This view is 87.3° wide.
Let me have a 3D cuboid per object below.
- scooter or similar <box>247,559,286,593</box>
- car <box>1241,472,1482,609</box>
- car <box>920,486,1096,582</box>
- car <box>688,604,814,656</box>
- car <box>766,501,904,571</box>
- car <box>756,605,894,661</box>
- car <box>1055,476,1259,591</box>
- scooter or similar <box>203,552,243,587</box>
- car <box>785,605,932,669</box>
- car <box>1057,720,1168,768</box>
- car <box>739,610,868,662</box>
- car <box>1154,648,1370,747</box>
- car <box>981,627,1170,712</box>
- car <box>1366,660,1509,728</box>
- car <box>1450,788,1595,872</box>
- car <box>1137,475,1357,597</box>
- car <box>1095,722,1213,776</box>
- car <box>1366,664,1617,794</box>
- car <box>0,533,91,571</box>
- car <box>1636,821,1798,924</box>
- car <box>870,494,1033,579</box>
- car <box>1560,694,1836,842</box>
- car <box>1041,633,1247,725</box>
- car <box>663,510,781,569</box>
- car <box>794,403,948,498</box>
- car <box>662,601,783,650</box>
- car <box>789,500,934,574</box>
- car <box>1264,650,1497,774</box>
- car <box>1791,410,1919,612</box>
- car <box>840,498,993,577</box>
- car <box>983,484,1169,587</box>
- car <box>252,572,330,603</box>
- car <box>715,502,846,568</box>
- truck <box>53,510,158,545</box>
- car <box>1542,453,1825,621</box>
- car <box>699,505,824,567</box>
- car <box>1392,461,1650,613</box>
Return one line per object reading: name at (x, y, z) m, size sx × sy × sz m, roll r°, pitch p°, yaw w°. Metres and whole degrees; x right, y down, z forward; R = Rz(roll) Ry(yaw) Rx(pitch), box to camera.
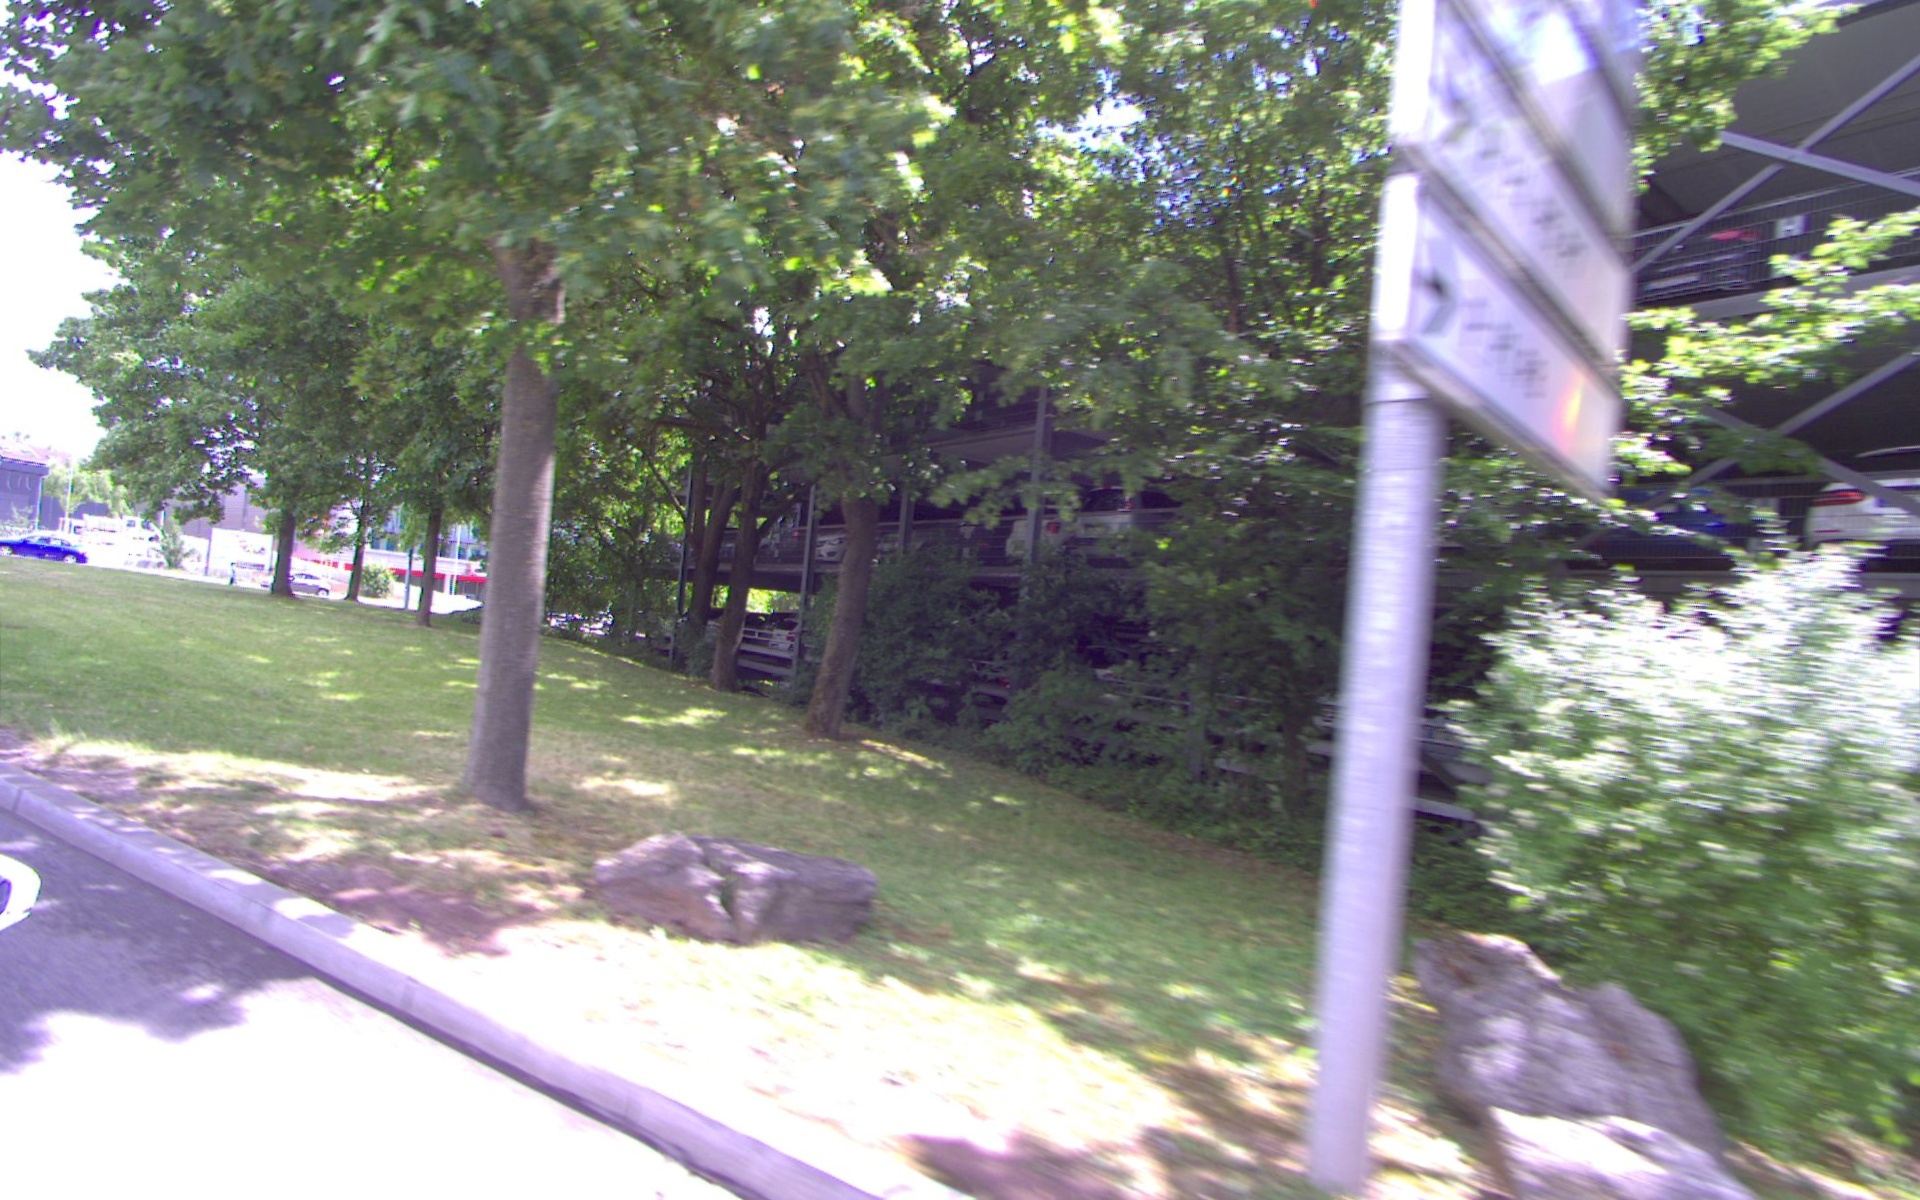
scooter or similar at (-29.462, -1.000, 42.751) m, size 0.524 × 1.278 × 1.192 m, roll 5°, pitch -3°, yaw 11°
car at (6.402, -0.897, 15.927) m, size 3.670 × 1.561 × 1.710 m, roll 7°, pitch 1°, yaw -36°
car at (1.151, -1.511, 23.341) m, size 3.670 × 1.640 × 1.710 m, roll 7°, pitch 1°, yaw -36°
car at (-7.140, 1.037, 34.435) m, size 3.765 × 1.308 × 1.760 m, roll 7°, pitch -1°, yaw -37°
car at (-3.787, -1.925, 30.619) m, size 3.670 × 1.561 × 1.710 m, roll 7°, pitch 1°, yaw -36°
car at (-4.147, 1.030, 31.156) m, size 3.765 × 1.308 × 1.760 m, roll 7°, pitch -1°, yaw -37°
car at (3.889, -1.263, 19.687) m, size 3.670 × 1.640 × 1.710 m, roll 7°, pitch 1°, yaw -36°
scooter or similar at (-30.307, -1.238, 41.376) m, size 0.524 × 1.278 × 1.192 m, roll 5°, pitch -3°, yaw 11°
car at (-2.900, 1.082, 28.998) m, size 3.765 × 1.409 × 1.760 m, roll 7°, pitch -1°, yaw -37°
car at (5.400, 5.042, 35.462) m, size 3.748 × 1.388 × 1.624 m, roll 6°, pitch 0°, yaw -37°
car at (-5.155, 1.207, 33.363) m, size 3.765 × 1.308 × 1.760 m, roll 7°, pitch -1°, yaw -37°
car at (5.488, 1.780, 18.101) m, size 3.824 × 1.409 × 1.679 m, roll 7°, pitch -1°, yaw -37°
car at (2.517, 1.515, 21.625) m, size 3.765 × 1.409 × 1.760 m, roll 7°, pitch -1°, yaw -37°
car at (12.626, 2.495, 26.519) m, size 3.765 × 1.409 × 1.760 m, roll 7°, pitch -1°, yaw -37°
car at (13.748, 5.526, 24.529) m, size 3.748 × 1.465 × 1.624 m, roll 6°, pitch 0°, yaw -37°
car at (5.150, -1.097, 17.917) m, size 3.670 × 1.561 × 1.710 m, roll 7°, pitch 1°, yaw -36°
car at (6.456, 4.917, 33.336) m, size 3.748 × 1.465 × 1.624 m, roll 6°, pitch 0°, yaw -37°
car at (7.825, 1.895, 14.699) m, size 3.824 × 1.507 × 1.679 m, roll 7°, pitch -1°, yaw -37°
car at (-49.158, -2.605, 53.581) m, size 1.670 × 1.415 × 3.994 m, roll 5°, pitch -4°, yaw 34°
car at (16.227, 5.734, 21.519) m, size 3.822 × 1.465 × 1.679 m, roll 6°, pitch 0°, yaw -37°
car at (-0.178, -1.582, 25.359) m, size 3.670 × 1.561 × 1.710 m, roll 7°, pitch 1°, yaw -36°
car at (9.379, 2.081, 12.695) m, size 3.824 × 1.409 × 1.679 m, roll 7°, pitch -1°, yaw -37°
car at (3.649, 1.569, 19.722) m, size 3.824 × 1.409 × 1.759 m, roll 7°, pitch -1°, yaw -37°
car at (-8.604, -2.190, 36.425) m, size 3.670 × 1.561 × 1.710 m, roll 7°, pitch 1°, yaw -36°
car at (-2.565, -4.281, 29.381) m, size 3.966 × 1.679 × 1.852 m, roll 10°, pitch -4°, yaw -35°
car at (-8.519, 0.943, 36.208) m, size 3.765 × 1.308 × 1.760 m, roll 7°, pitch -1°, yaw -37°
car at (-2.807, -1.800, 28.902) m, size 3.670 × 1.561 × 1.710 m, roll 7°, pitch 1°, yaw -36°
car at (6.883, 1.841, 16.337) m, size 3.824 × 1.645 × 1.679 m, roll 7°, pitch -1°, yaw -37°
car at (10.396, -0.801, 10.499) m, size 3.670 × 1.582 × 1.643 m, roll 7°, pitch 1°, yaw -36°
car at (-1.146, -1.661, 27.083) m, size 3.670 × 1.561 × 1.710 m, roll 7°, pitch 1°, yaw -36°
car at (2.543, -1.374, 21.815) m, size 3.670 × 1.640 × 1.710 m, roll 7°, pitch 1°, yaw -36°
car at (-40.341, -0.749, 60.745) m, size 1.561 × 1.478 × 3.512 m, roll 6°, pitch 0°, yaw 36°
car at (-5.775, -2.093, 32.501) m, size 3.670 × 1.561 × 1.710 m, roll 7°, pitch 1°, yaw -36°
truck at (-70.777, -5.993, 83.454) m, size 6.529 × 2.173 × 1.977 m, roll 5°, pitch 0°, yaw -41°
car at (9.018, -0.715, 12.456) m, size 3.670 × 1.449 × 1.643 m, roll 7°, pitch 1°, yaw -36°
car at (-6.734, -2.171, 34.206) m, size 3.670 × 1.561 × 1.710 m, roll 7°, pitch 1°, yaw -36°
car at (8.101, -0.850, 14.450) m, size 3.670 × 1.561 × 1.710 m, roll 7°, pitch 1°, yaw -36°
